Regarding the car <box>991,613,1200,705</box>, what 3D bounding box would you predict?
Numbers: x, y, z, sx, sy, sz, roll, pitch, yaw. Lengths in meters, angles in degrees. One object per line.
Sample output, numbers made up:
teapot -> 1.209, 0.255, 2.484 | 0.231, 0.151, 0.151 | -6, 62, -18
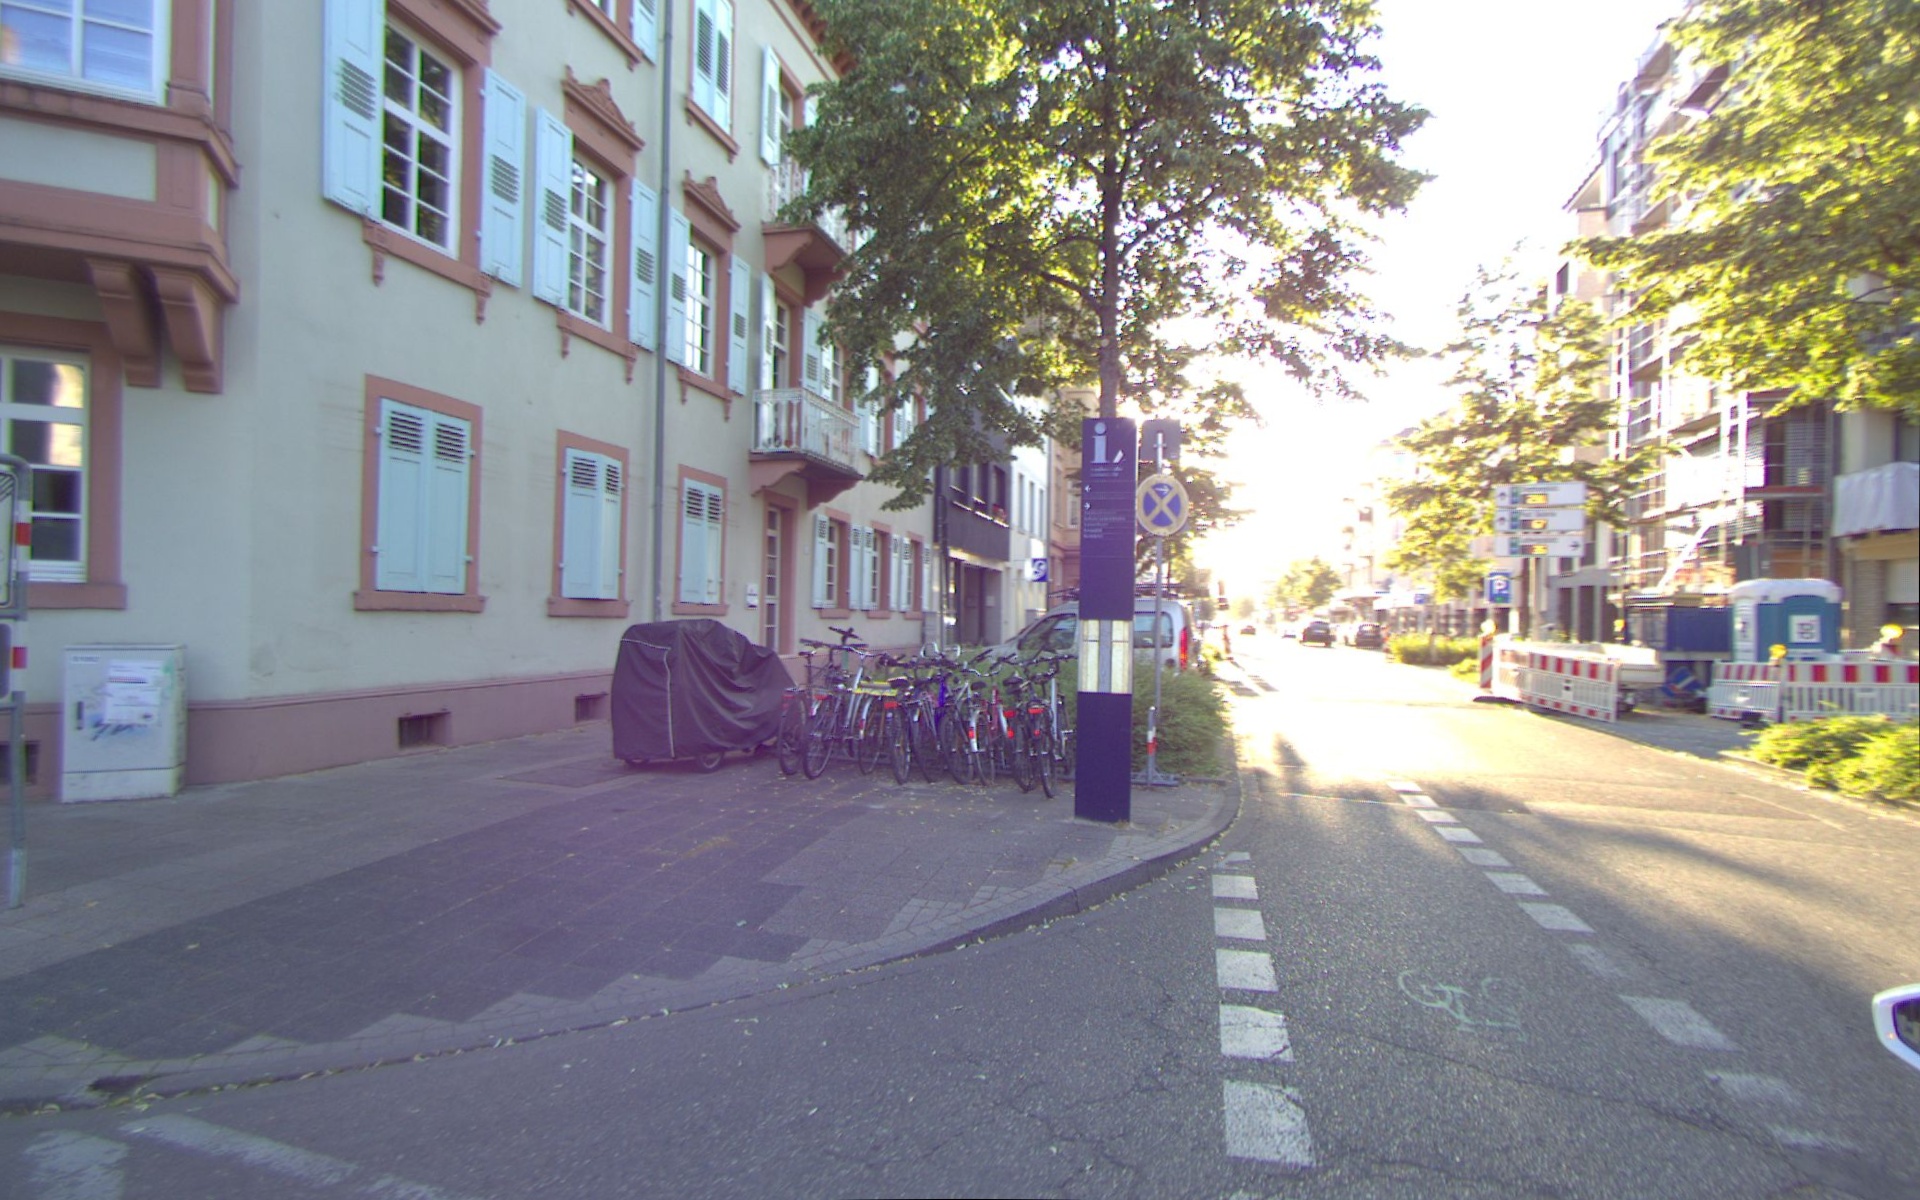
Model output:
car -> 2.542, 1.036, 18.762 | 3.589, 1.535, 1.649 | 1, 0, 20

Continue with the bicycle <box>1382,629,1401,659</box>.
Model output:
bicycle -> 16.685, 1.683, 38.848 | 0.375, 1.115, 1.524 | 1, -1, 11

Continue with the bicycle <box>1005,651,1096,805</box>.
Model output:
bicycle -> 0.810, 1.024, 8.575 | 0.388, 1.123, 1.713 | 3, -1, 17

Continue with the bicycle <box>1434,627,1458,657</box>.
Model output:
bicycle -> 18.872, 1.635, 39.015 | 0.375, 1.115, 1.524 | 1, -1, 7

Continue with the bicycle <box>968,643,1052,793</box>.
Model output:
bicycle -> 0.473, 0.983, 8.900 | 0.325, 1.156, 1.597 | 3, 0, 17

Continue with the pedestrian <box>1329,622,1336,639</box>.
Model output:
pedestrian -> 38.931, 3.152, 104.874 | 0.677, 1.744, 0.716 | 0, -1, 20

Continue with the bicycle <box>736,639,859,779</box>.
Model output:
bicycle -> -1.426, 0.928, 9.088 | 0.388, 1.096, 1.597 | 3, 0, 17

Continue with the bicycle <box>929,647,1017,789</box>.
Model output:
bicycle -> 0.150, 1.000, 9.003 | 0.313, 1.096, 1.597 | 3, 0, 17

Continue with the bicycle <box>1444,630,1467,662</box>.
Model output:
bicycle -> 19.764, 1.817, 40.066 | 0.375, 1.205, 1.524 | 2, -1, 11

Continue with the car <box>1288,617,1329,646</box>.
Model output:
car -> 21.983, 1.973, 63.509 | 1.961, 1.677, 4.676 | 3, 0, 14

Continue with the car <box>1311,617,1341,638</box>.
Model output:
car -> 27.364, 2.038, 75.175 | 1.674, 1.455, 3.934 | 1, -1, 15

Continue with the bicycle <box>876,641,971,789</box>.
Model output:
bicycle -> -0.288, 0.960, 8.900 | 0.306, 1.163, 1.613 | 1, -1, 17

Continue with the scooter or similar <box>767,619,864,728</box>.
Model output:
scooter or similar -> -1.731, 0.852, 12.215 | 0.664, 1.238, 1.395 | 1, -1, 14

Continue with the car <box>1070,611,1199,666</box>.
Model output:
car -> 5.524, 1.193, 31.729 | 3.827, 1.537, 1.858 | 2, 0, 15

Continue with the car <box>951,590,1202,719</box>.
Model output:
car -> 1.917, 0.826, 16.256 | 3.747, 1.874, 1.700 | 1, -1, 18

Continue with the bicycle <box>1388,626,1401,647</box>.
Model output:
bicycle -> 26.043, 2.186, 60.237 | 0.390, 1.251, 1.827 | 0, -1, 12

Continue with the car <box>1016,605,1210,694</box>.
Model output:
car -> 3.245, 0.992, 21.081 | 3.761, 1.606, 1.742 | 2, -1, 17

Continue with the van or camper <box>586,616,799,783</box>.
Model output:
van or camper -> -2.308, 0.809, 8.949 | 0.925, 1.276, 1.845 | 2, -1, 19

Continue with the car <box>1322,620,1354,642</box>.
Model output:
car -> 25.762, 2.116, 68.534 | 1.605, 1.443, 3.760 | 0, -1, 14

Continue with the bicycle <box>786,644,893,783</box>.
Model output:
bicycle -> -1.042, 0.955, 8.987 | 0.317, 1.096, 1.597 | 1, -1, 17

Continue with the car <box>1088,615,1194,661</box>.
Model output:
car -> 6.138, 1.258, 34.017 | 3.339, 1.410, 1.687 | 2, 0, 17

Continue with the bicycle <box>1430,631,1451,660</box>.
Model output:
bicycle -> 19.200, 1.817, 40.168 | 0.375, 1.115, 1.524 | 2, -1, 11

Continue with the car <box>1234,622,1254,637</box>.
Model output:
car -> 28.330, 2.939, 100.279 | 1.851, 1.434, 4.327 | 2, -1, 14

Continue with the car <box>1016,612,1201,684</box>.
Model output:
car -> 3.501, 1.089, 23.676 | 4.135, 1.536, 1.763 | 1, -1, 11

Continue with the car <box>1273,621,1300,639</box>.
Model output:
car -> 28.384, 2.583, 87.338 | 1.889, 1.433, 4.550 | 3, 0, 14

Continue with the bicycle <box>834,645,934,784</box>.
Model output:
bicycle -> -0.649, 0.971, 9.017 | 0.335, 1.096, 1.597 | 1, -1, 17

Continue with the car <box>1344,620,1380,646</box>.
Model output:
car -> 24.560, 1.993, 61.488 | 1.605, 1.574, 2.696 | 0, -1, 12
